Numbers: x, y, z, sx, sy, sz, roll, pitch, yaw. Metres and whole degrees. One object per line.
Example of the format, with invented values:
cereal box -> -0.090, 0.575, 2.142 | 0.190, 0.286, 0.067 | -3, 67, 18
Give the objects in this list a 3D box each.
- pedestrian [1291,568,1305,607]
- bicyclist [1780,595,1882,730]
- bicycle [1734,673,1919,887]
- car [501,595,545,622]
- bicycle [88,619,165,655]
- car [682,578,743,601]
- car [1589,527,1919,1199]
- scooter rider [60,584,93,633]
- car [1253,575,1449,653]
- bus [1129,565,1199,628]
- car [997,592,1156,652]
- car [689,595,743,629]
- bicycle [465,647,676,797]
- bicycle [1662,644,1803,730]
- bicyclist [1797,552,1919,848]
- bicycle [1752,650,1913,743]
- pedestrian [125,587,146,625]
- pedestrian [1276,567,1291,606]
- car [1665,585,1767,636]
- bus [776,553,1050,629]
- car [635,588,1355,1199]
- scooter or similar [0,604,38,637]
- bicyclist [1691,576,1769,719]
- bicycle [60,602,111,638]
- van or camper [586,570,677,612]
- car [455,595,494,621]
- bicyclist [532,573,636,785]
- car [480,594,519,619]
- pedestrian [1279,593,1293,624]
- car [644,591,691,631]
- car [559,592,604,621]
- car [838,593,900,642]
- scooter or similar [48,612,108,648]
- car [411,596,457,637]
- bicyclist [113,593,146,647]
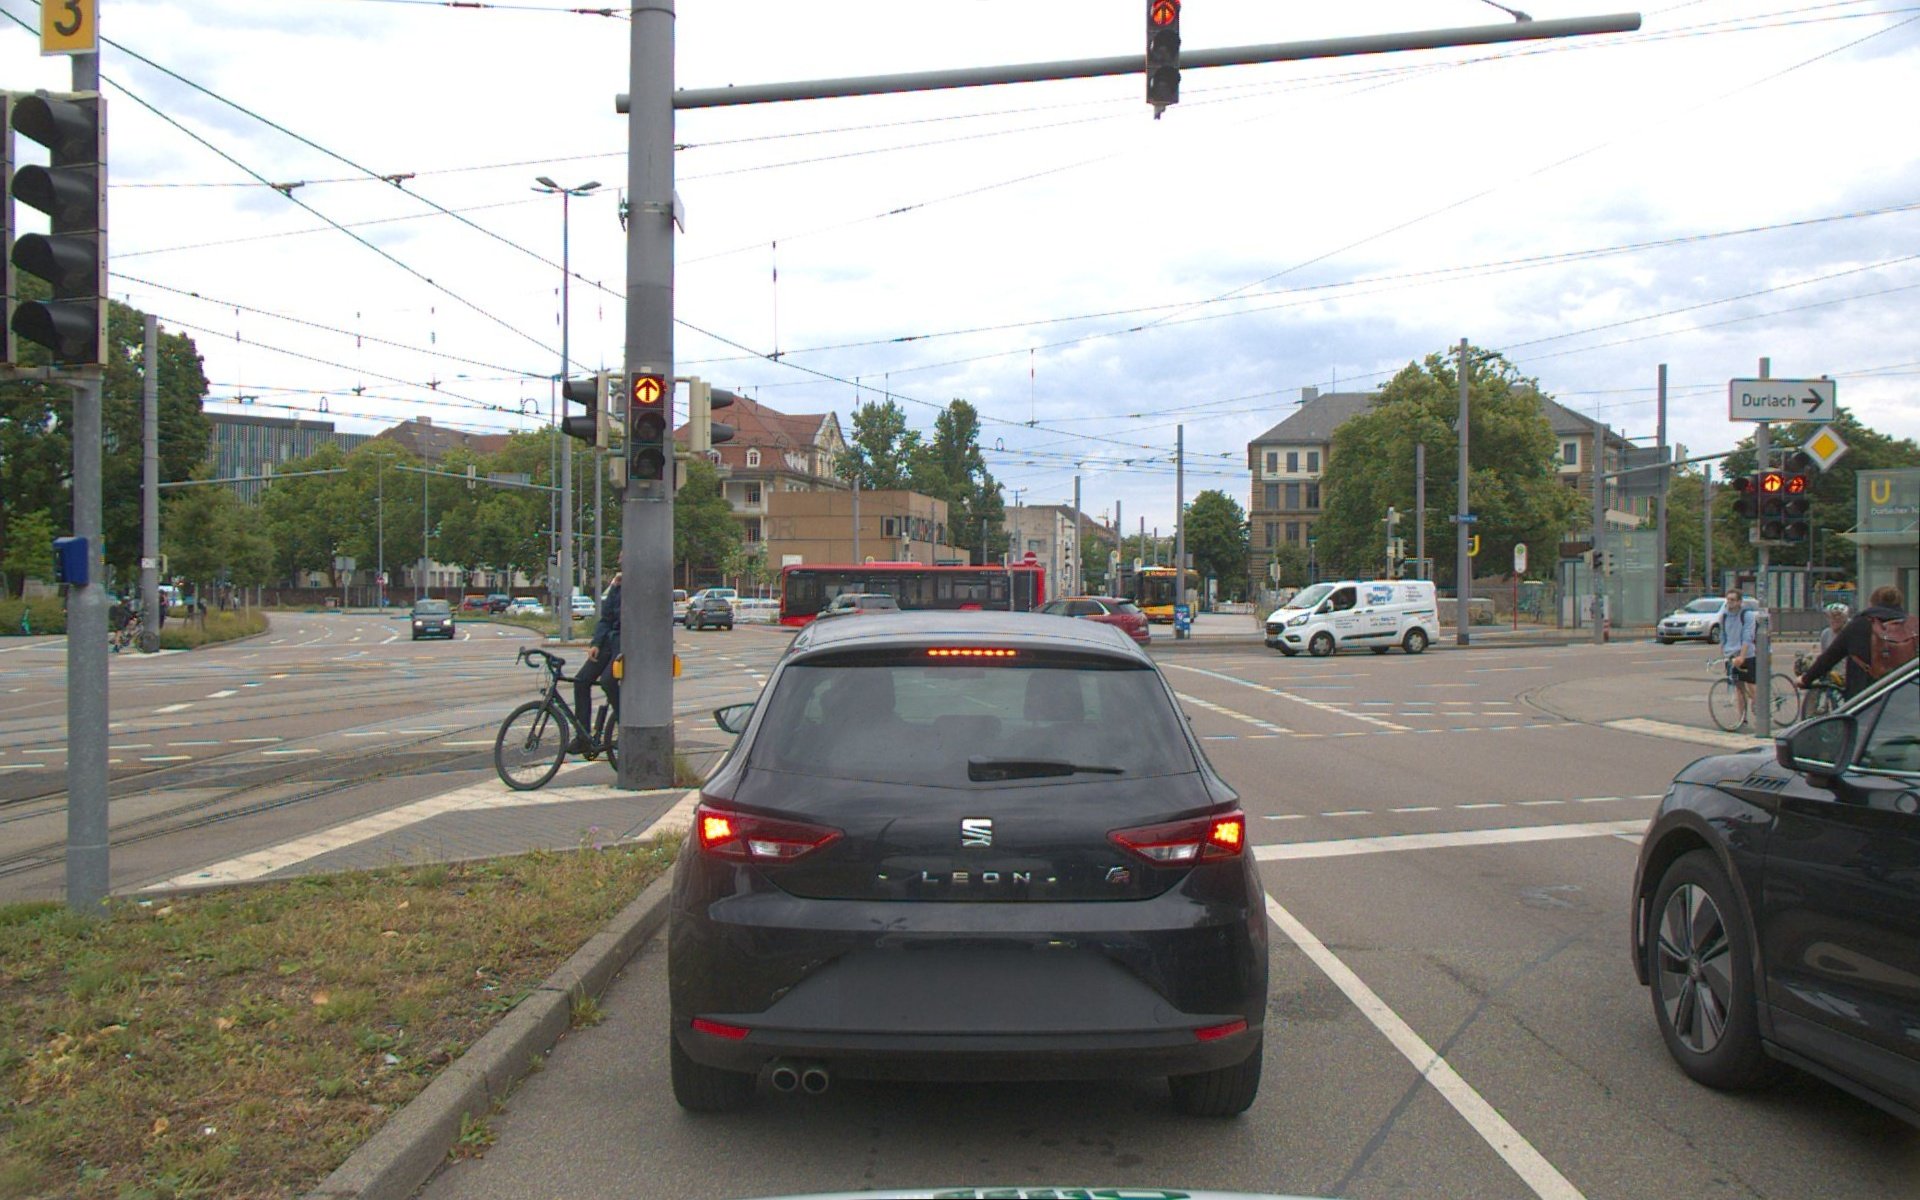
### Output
pedestrian -> 37.399, -1.408, 183.174 | 1.280, 4.328, 1.346 | 0, 0, 0
bicyclist -> 10.277, 0.721, 19.517 | 0.871, 1.548, 0.668 | 0, 0, -21
bicycle -> 5.601, 1.046, 10.160 | 0.612, 1.073, 2.125 | 0, 1, -3
car -> -27.458, 0.531, 103.836 | 1.969, 1.668, 3.966 | 0, 0, -26
bicycle -> -26.917, 1.193, 53.442 | 2.083, 1.046, 0.790 | 3, 1, -21
car -> -21.486, -0.907, 143.691 | 1.967, 1.897, 4.969 | -5, -3, 45
car -> 3.310, 0.659, 3.782 | 1.865, 1.687, 4.512 | 0, 0, -3
scooter rider -> -30.110, 0.280, 56.368 | 0.556, 1.656, 0.822 | 0, 0, 20
car -> 10.697, 0.351, 45.274 | 4.940, 2.054, 1.989 | 0, 0, -20
bus -> 11.783, -0.221, 94.452 | 2.952, 3.325, 13.054 | 0, 0, 12
car -> 3.310, 0.604, 46.880 | 4.107, 1.628, 1.863 | 0, 0, 24
car -> -11.317, 0.532, 76.618 | 1.961, 1.566, 3.982 | 0, 0, -16
bicycle -> -3.117, 0.951, 13.330 | 1.599, 1.088, 0.520 | -1, 0, -41
bicycle -> 9.907, 1.099, 21.182 | 1.963, 1.016, 0.574 | 0, -1, -28
bicyclist -> 5.596, 0.577, 10.034 | 0.603, 1.720, 0.805 | 0, 0, -3
bicycle -> 10.324, 1.127, 19.559 | 1.912, 1.016, 0.598 | 0, 0, -22
pedestrian -> -38.960, 0.294, 78.143 | 0.734, 1.764, 0.683 | -1, 0, -15
pedestrian -> 35.835, -1.485, 183.327 | 1.358, 4.328, 1.346 | 0, 0, 0
car -> 24.595, 0.319, 53.724 | 1.695, 1.508, 4.600 | -1, 1, 42
bus -> -2.096, -0.385, 74.520 | 12.088, 3.355, 3.068 | 0, 0, -1
car -> 0.059, 0.720, 5.956 | 1.710, 1.489, 3.999 | 1, 0, -1
scooter or similar -> -38.488, 0.842, 67.210 | 1.753, 1.325, 0.623 | -1, 0, -33
bicyclist -> 9.851, 0.588, 21.159 | 0.724, 1.782, 0.581 | -1, 0, -27
bicycle -> -37.001, 0.837, 69.979 | 0.829, 1.474, 2.255 | 0, 0, 4
van or camper -> -27.349, -0.747, 137.894 | 2.828, 3.390, 7.102 | -2, -1, 44
car -> -34.313, 0.528, 116.805 | 1.970, 1.803, 3.964 | 0, 0, -27
bicyclist -> -3.045, 0.619, 13.397 | 0.649, 1.668, 0.510 | 0, 0, -40
car -> -34.229, 0.479, 122.768 | 1.971, 1.780, 3.962 | 0, 0, -29
pedestrian -> 20.084, 0.498, 101.932 | 0.806, 1.886, 1.022 | 0, 0, 15
car -> -15.449, 0.583, 87.142 | 1.962, 2.049, 3.980 | 0, 0, -18
car -> -24.075, 0.386, 105.119 | 1.969, 1.780, 3.966 | 0, 0, -26
car -> -3.074, 0.556, 56.301 | 1.953, 1.593, 4.204 | 0, 0, -1
scooter or similar -> -30.085, 0.997, 56.444 | 0.560, 1.185, 1.907 | 0, 0, 20
car -> -20.845, 0.633, 65.478 | 1.594, 1.542, 3.644 | -1, 1, -19
bicyclist -> -26.853, 0.631, 53.478 | 0.801, 1.685, 0.789 | 3, 0, -21
